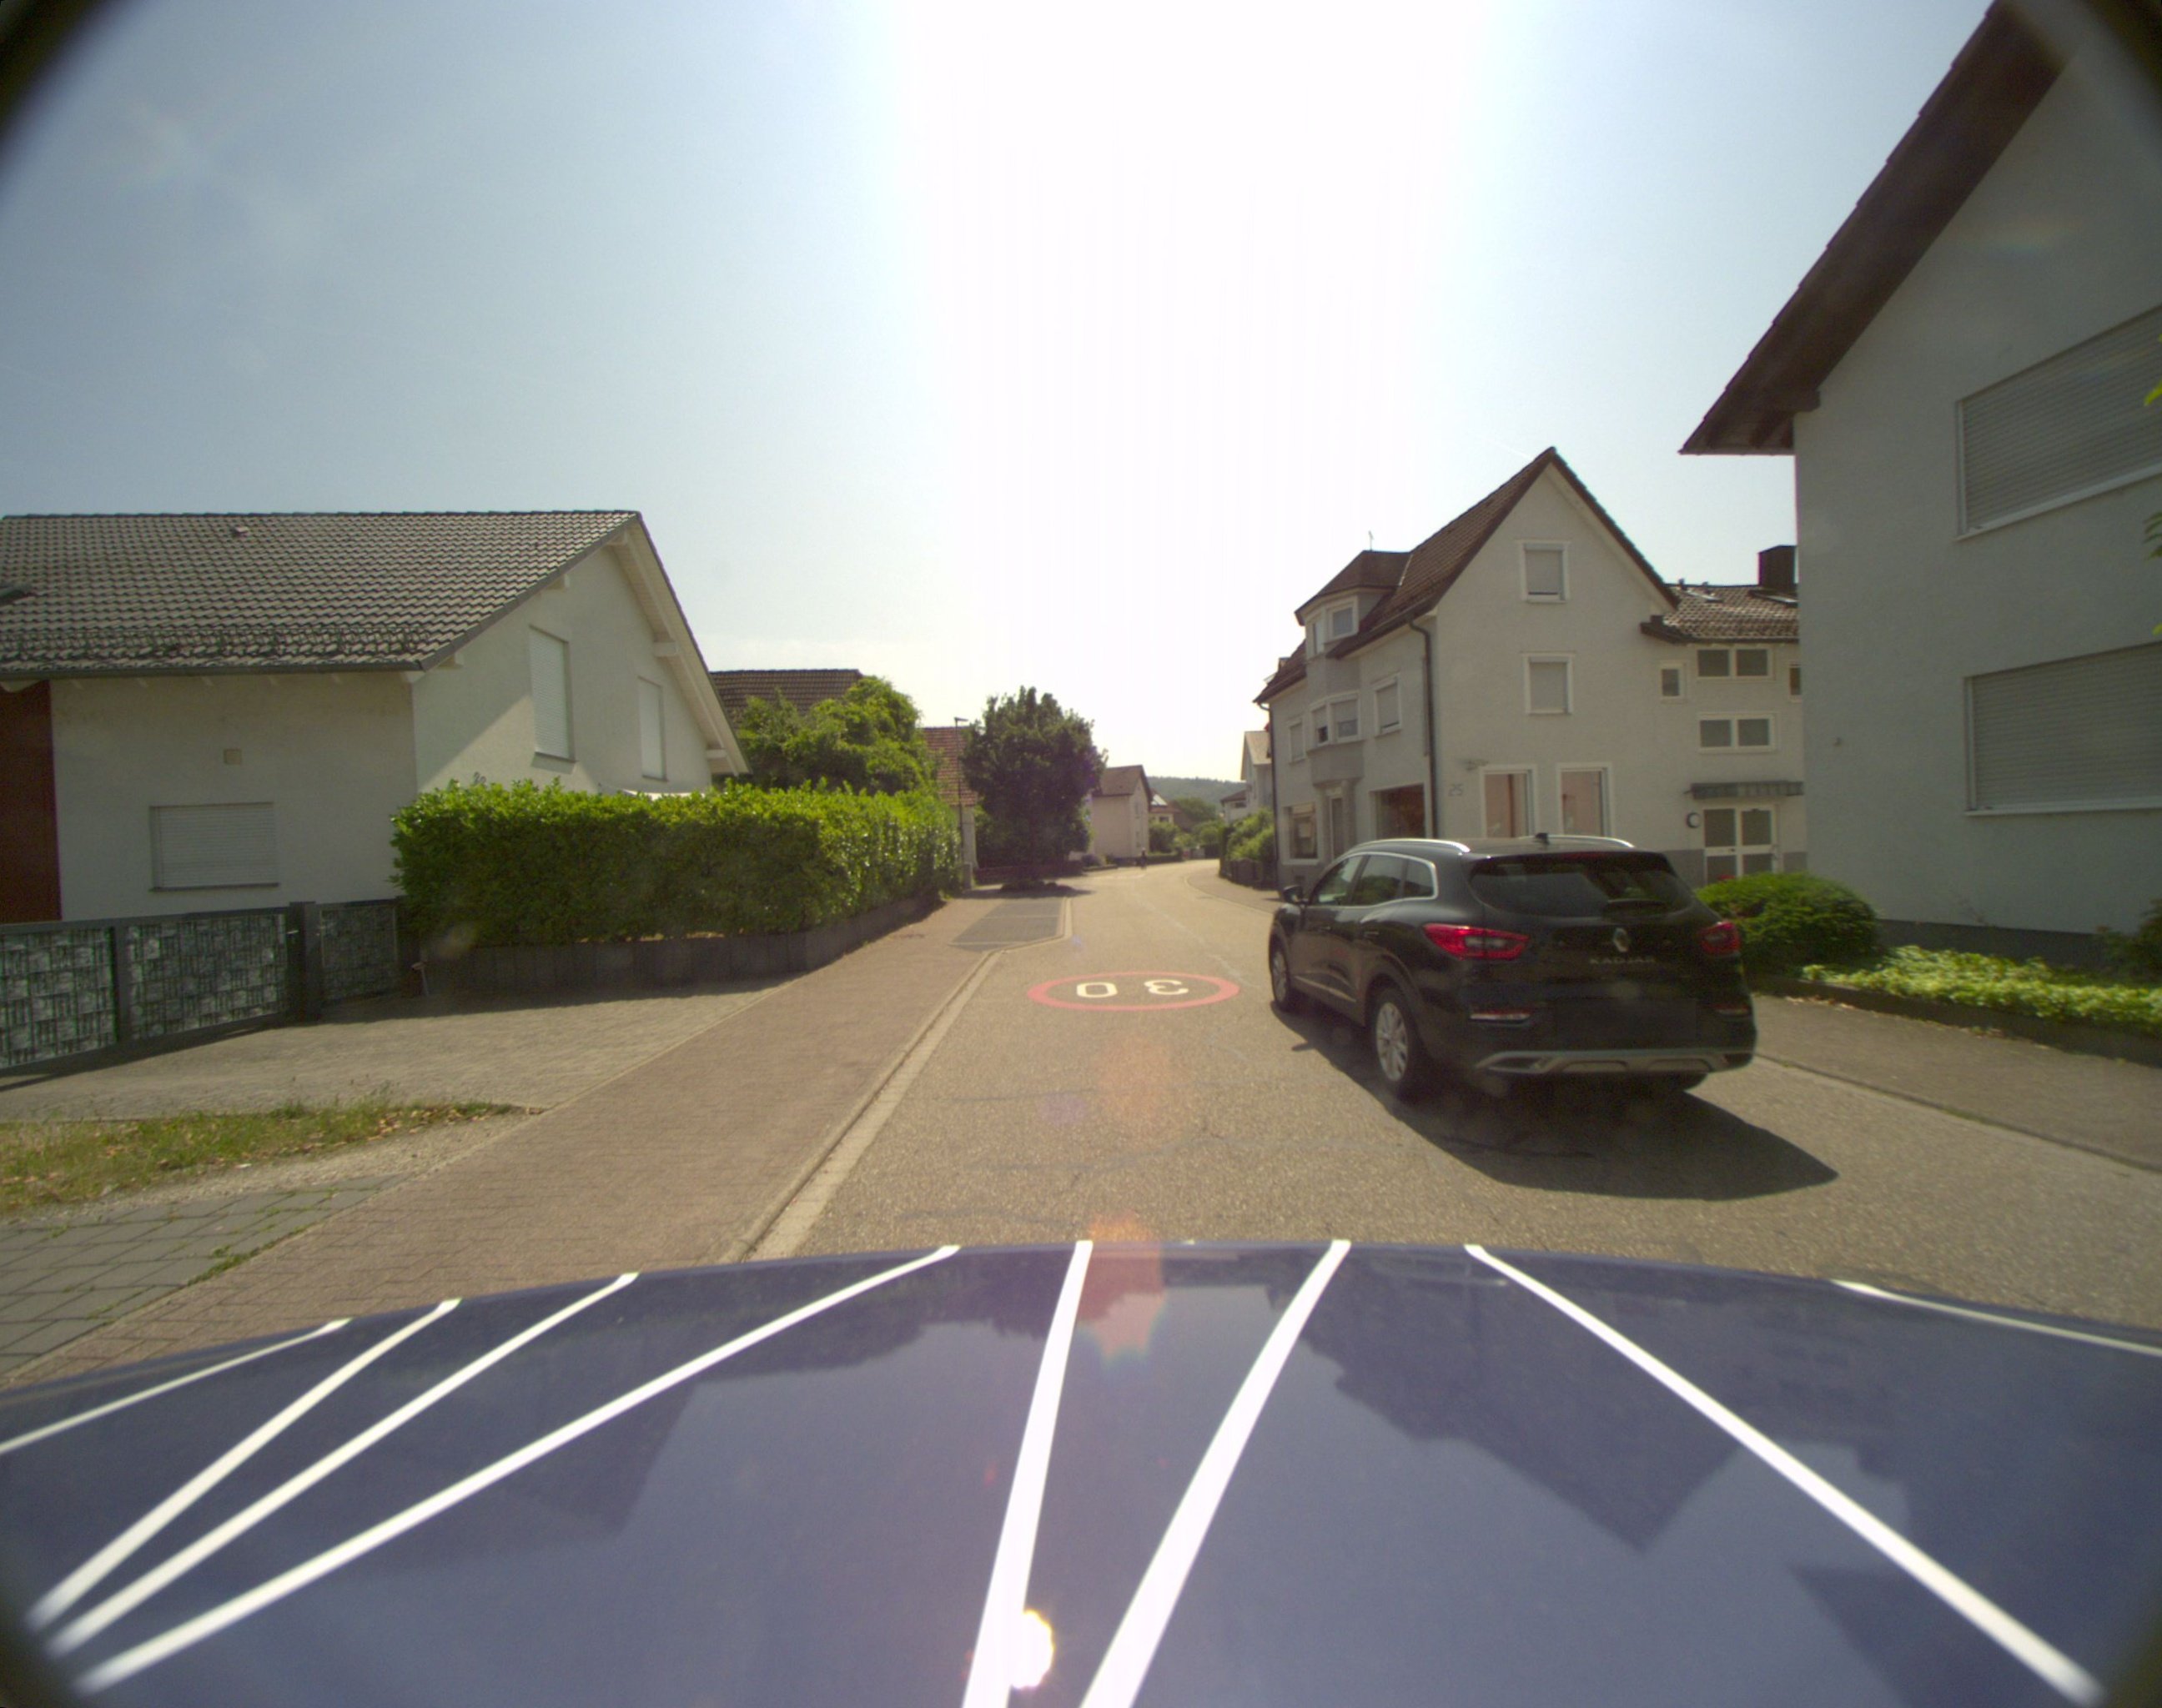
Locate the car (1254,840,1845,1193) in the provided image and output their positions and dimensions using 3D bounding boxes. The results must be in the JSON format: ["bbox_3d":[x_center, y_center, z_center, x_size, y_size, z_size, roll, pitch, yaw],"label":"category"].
[{"bbox_3d":[2.686,0.764,5.637,1.781,1.614,4.104,-2,0,-1],"label":"car"}]

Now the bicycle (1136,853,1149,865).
[{"bbox_3d":[4.822,0.412,59.444,0.520,0.899,1.315,-2,1,30],"label":"bicycle"}]

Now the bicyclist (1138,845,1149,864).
[{"bbox_3d":[4.884,0.034,59.562,0.546,1.481,0.798,-1,2,30],"label":"bicyclist"}]
